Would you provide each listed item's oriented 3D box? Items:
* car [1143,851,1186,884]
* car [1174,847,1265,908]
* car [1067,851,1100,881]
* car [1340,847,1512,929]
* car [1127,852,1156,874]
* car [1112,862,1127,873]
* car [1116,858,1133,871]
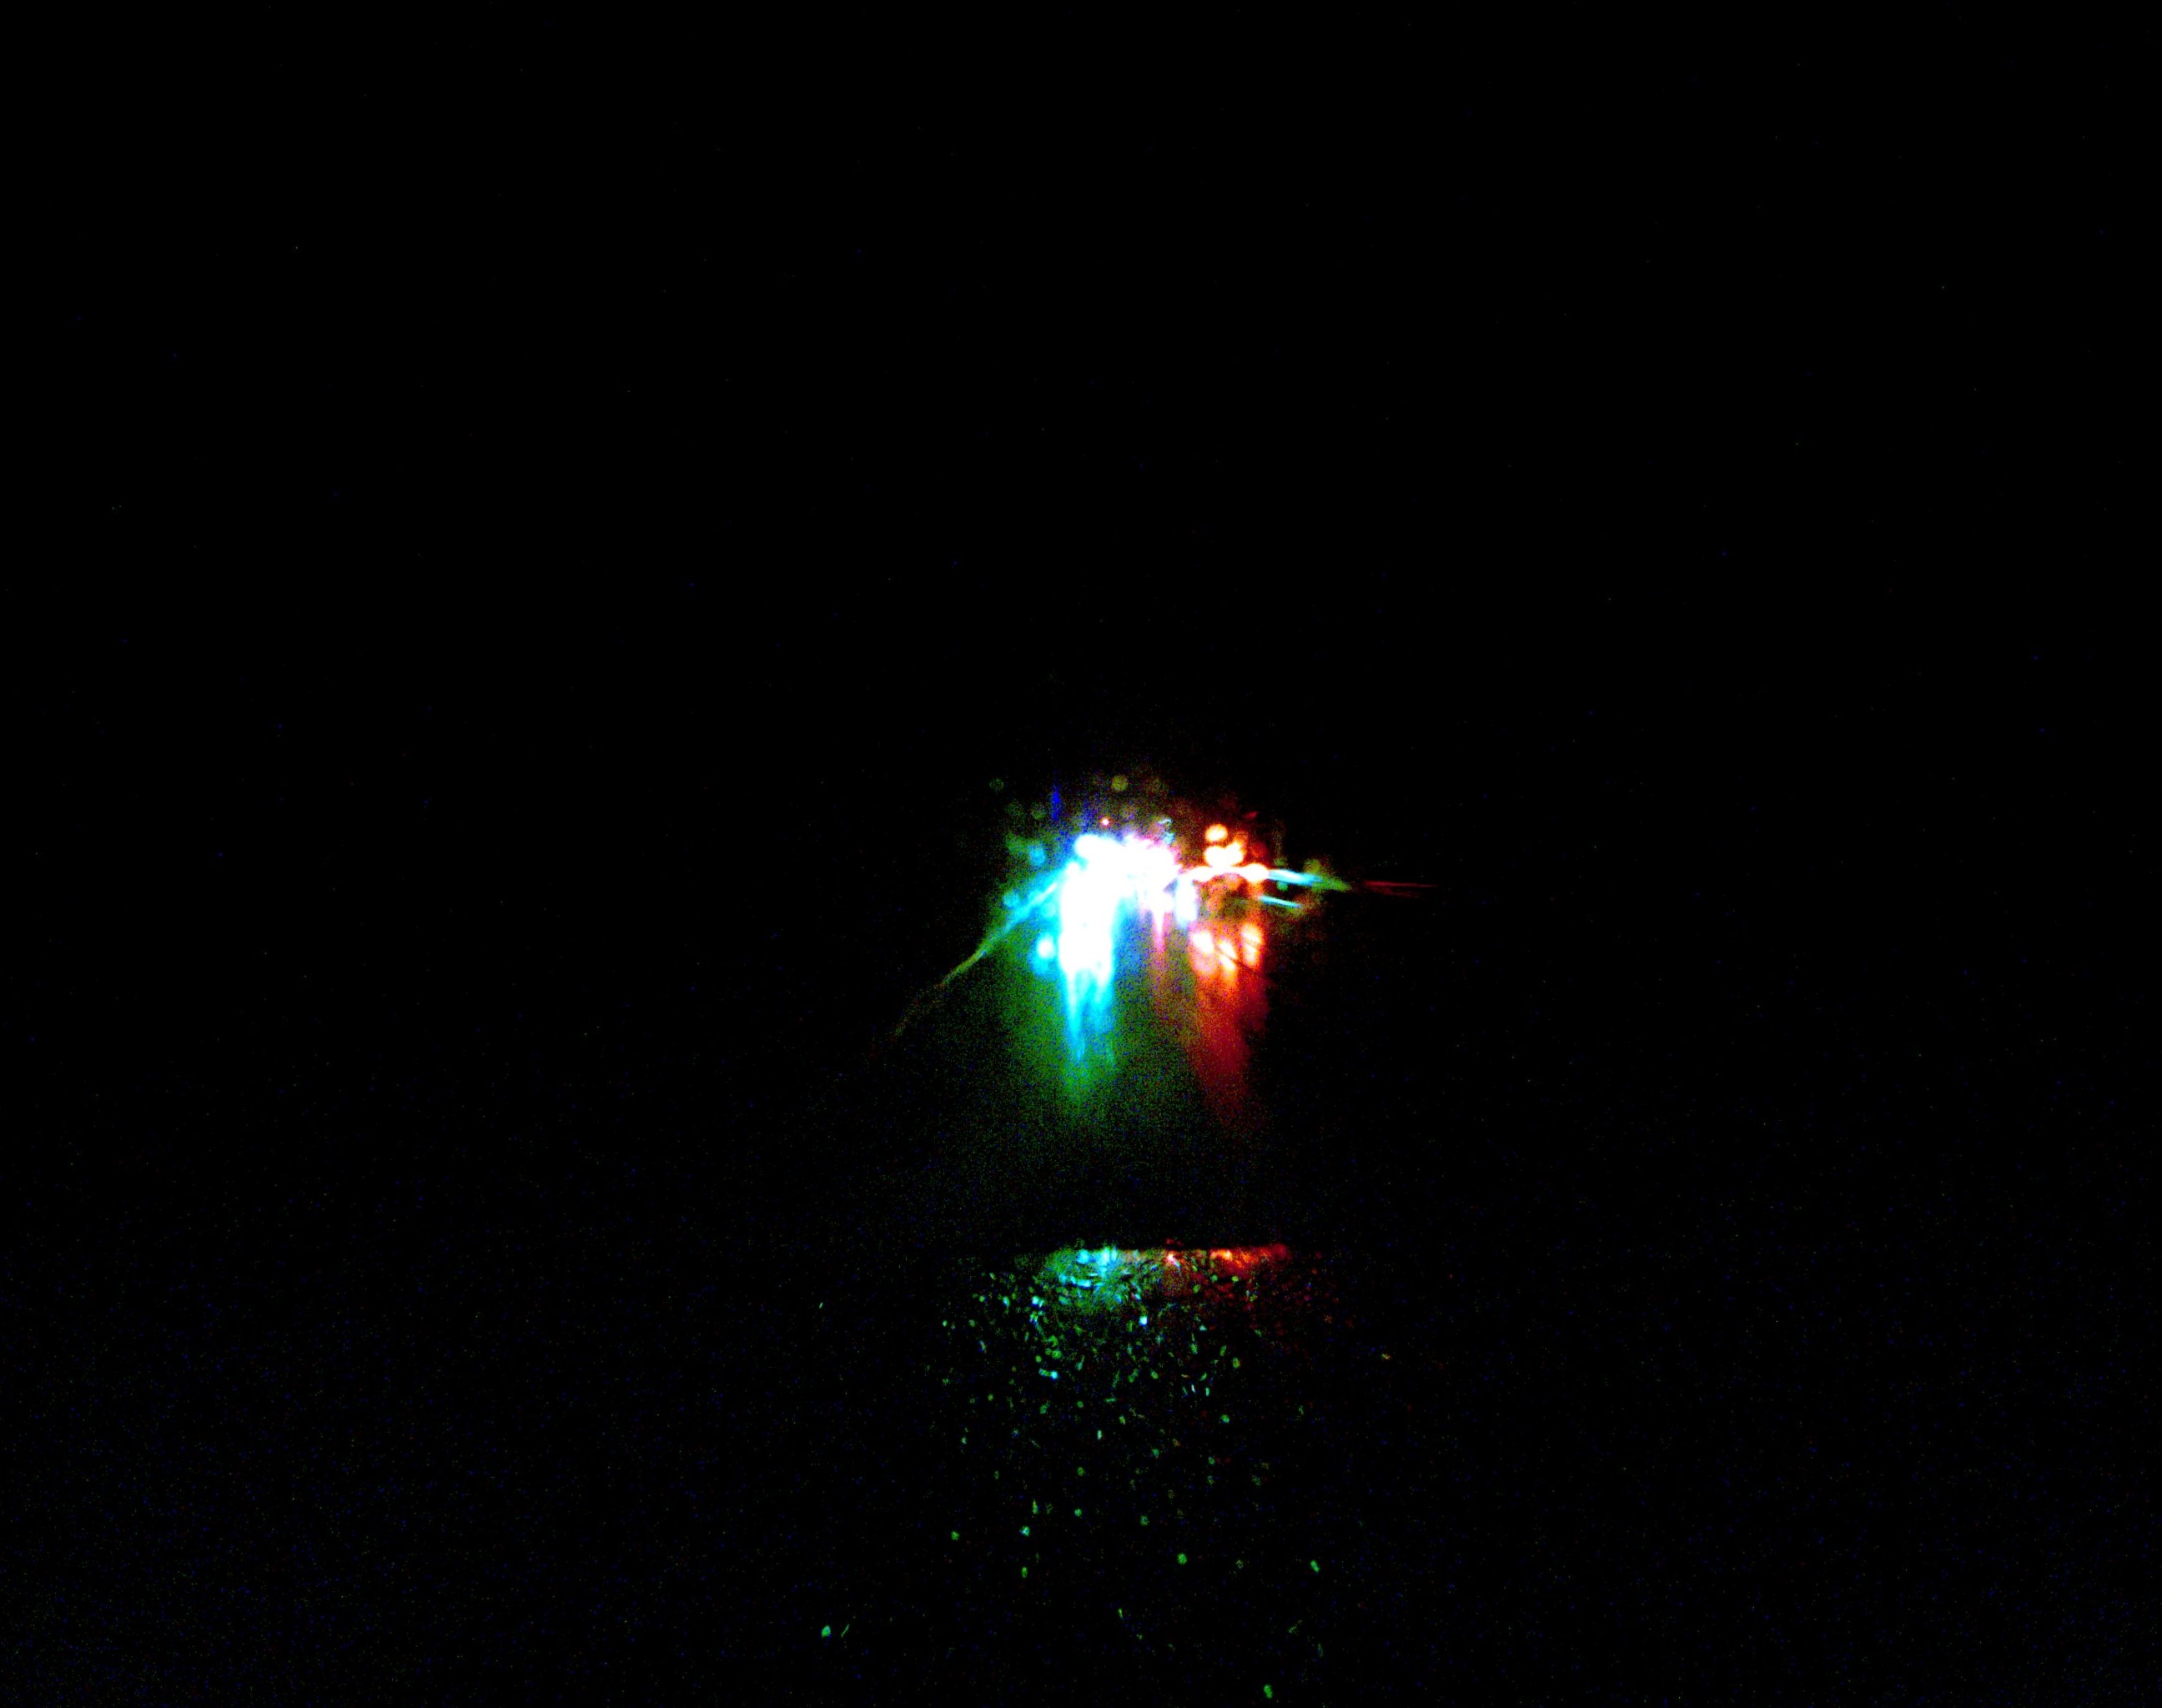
[{"bbox_3d":[4.387,0.669,40.346,1.790,1.623,4.425,-2,0,1],"label":"car"},{"bbox_3d":[4.050,0.615,23.038,1.951,1.629,4.821,-1,0,1],"label":"car"},{"bbox_3d":[0.182,0.731,49.558,1.998,1.805,4.000,-2,1,1],"label":"car"},{"bbox_3d":[7.525,0.654,17.105,1.835,1.545,4.441,-2,0,0],"label":"car"},{"bbox_3d":[4.296,0.649,54.688,1.790,1.459,3.776,-2,1,1],"label":"car"},{"bbox_3d":[5.221,1.799,103.159,1.790,1.379,3.776,-2,0,1],"label":"car"},{"bbox_3d":[4.972,1.148,87.416,1.790,1.379,3.776,-2,0,1],"label":"car"}]
